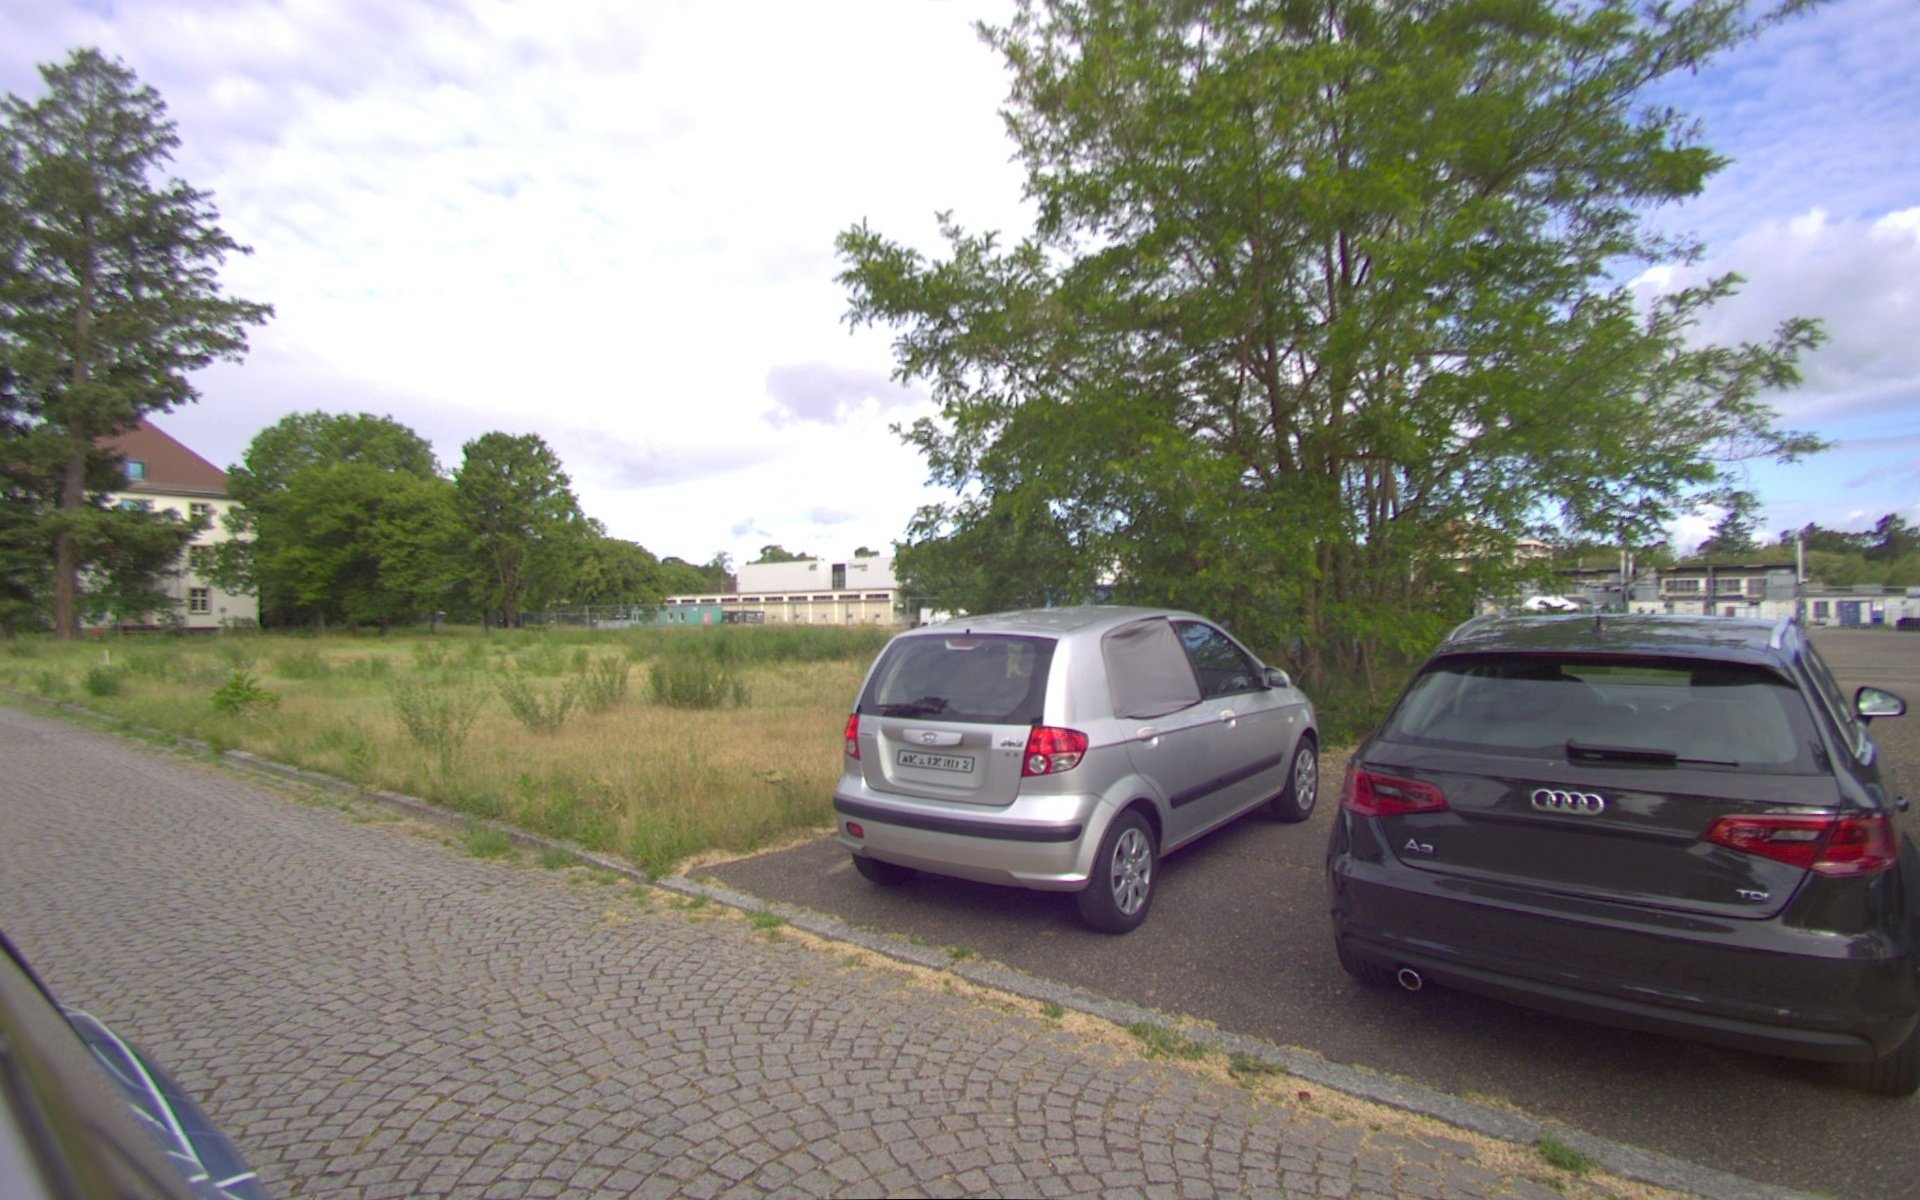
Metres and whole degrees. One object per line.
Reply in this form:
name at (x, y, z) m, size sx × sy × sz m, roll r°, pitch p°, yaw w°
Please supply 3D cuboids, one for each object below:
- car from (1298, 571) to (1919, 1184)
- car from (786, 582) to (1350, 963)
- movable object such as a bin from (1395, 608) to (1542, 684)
car at (3.079, 0.651, 4.412) m, size 1.749 × 1.438 × 3.948 m, roll -1°, pitch 1°, yaw 39°
car at (0.919, 0.693, 6.113) m, size 1.805 × 1.463 × 3.646 m, roll -1°, pitch 1°, yaw 36°
movable object such as a bin at (8.512, 0.723, 16.892) m, size 2.364 × 1.170 × 1.501 m, roll 0°, pitch -1°, yaw -44°
